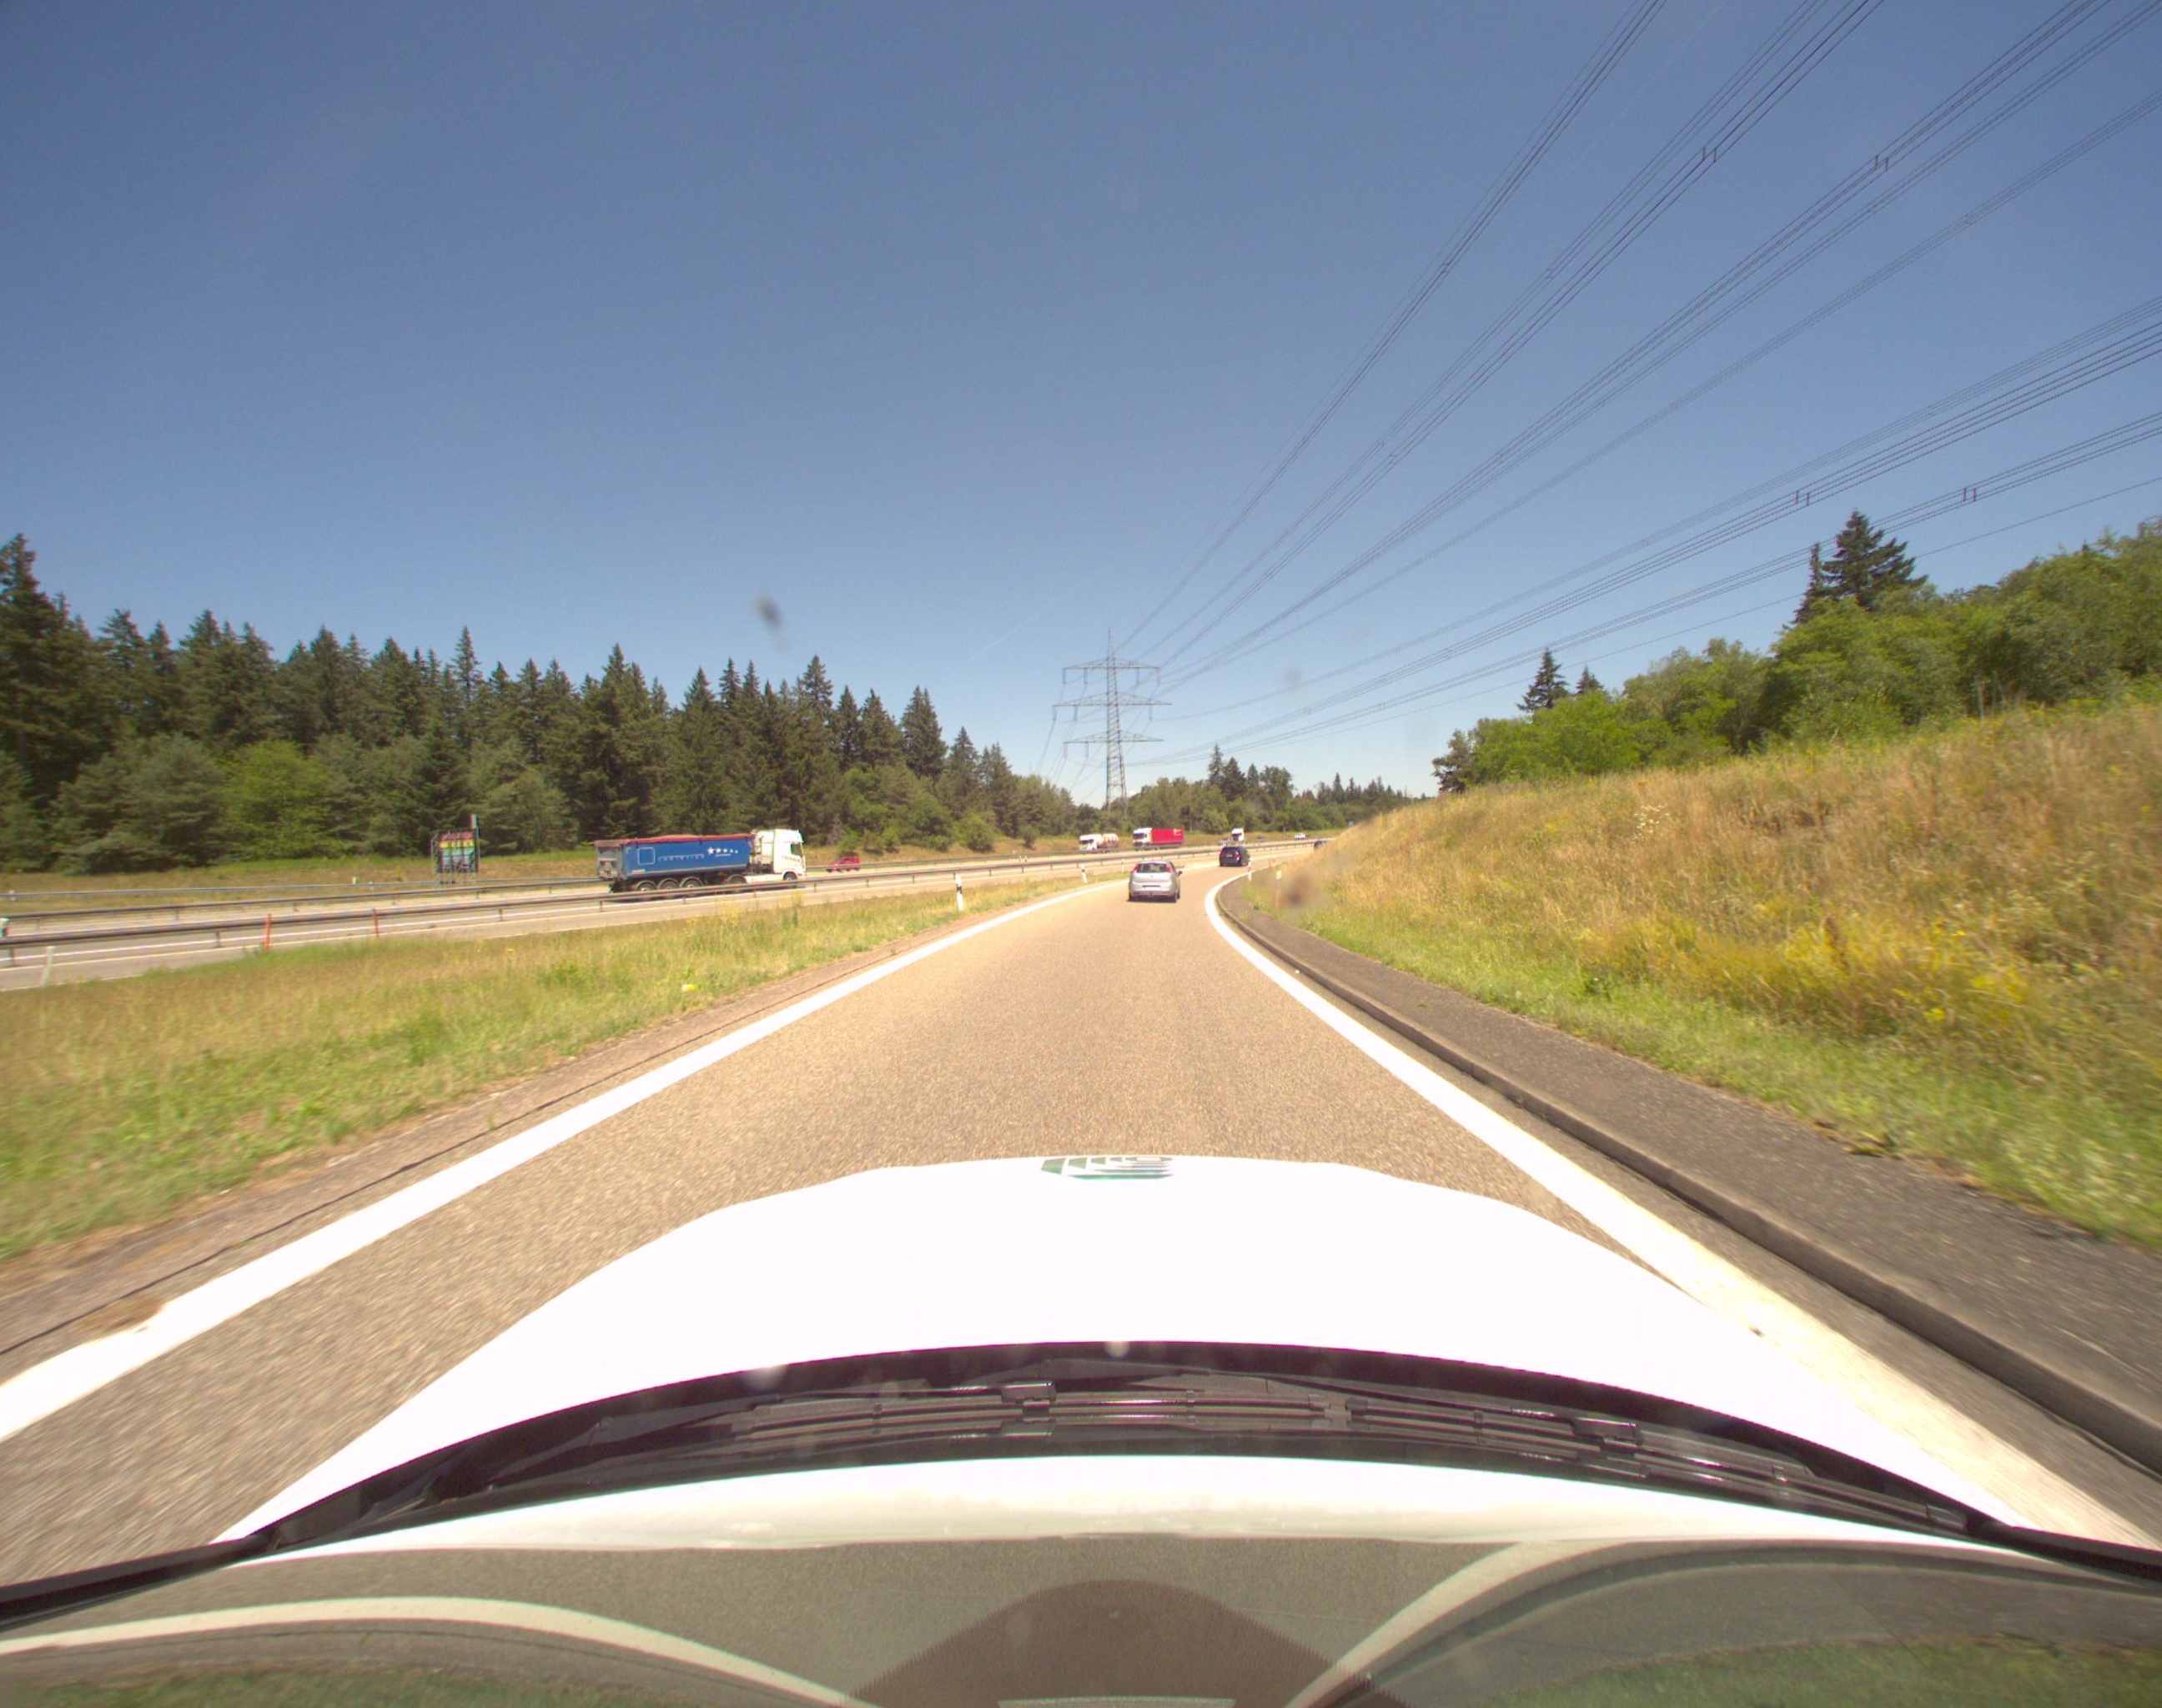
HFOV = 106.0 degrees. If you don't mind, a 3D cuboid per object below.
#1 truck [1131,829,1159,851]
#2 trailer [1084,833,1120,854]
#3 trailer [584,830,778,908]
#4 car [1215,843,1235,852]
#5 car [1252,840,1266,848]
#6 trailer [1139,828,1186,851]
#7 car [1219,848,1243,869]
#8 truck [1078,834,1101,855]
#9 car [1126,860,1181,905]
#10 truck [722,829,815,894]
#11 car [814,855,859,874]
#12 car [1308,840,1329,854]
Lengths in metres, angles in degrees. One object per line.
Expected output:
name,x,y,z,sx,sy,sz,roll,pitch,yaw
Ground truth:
truck,11.686,-2.562,147.458,2.517,3.797,5.705,-1,2,34
trailer,4.223,-2.065,162.760,2.745,3.797,8.995,-1,2,34
trailer,-22.542,0.654,46.785,2.744,3.806,9.949,-1,2,32
car,28.067,-1.320,158.737,1.754,1.684,4.856,-1,0,35
car,39.767,-2.269,182.227,1.754,1.684,3.714,-1,0,35
trailer,15.453,-2.740,153.160,2.517,3.797,13.831,-1,2,34
car,12.744,0.362,69.079,1.693,1.676,3.412,-1,0,16
truck,1.660,-1.842,158.897,2.740,3.797,4.026,-1,2,34
car,2.648,0.978,29.203,1.696,1.482,3.407,1,0,10
truck,-19.673,0.390,51.475,2.730,3.806,4.652,-1,2,31
car,-24.767,1.038,82.723,1.942,1.728,4.026,-4,-1,31
car,30.126,-0.900,103.237,1.864,1.684,4.024,-4,0,26
